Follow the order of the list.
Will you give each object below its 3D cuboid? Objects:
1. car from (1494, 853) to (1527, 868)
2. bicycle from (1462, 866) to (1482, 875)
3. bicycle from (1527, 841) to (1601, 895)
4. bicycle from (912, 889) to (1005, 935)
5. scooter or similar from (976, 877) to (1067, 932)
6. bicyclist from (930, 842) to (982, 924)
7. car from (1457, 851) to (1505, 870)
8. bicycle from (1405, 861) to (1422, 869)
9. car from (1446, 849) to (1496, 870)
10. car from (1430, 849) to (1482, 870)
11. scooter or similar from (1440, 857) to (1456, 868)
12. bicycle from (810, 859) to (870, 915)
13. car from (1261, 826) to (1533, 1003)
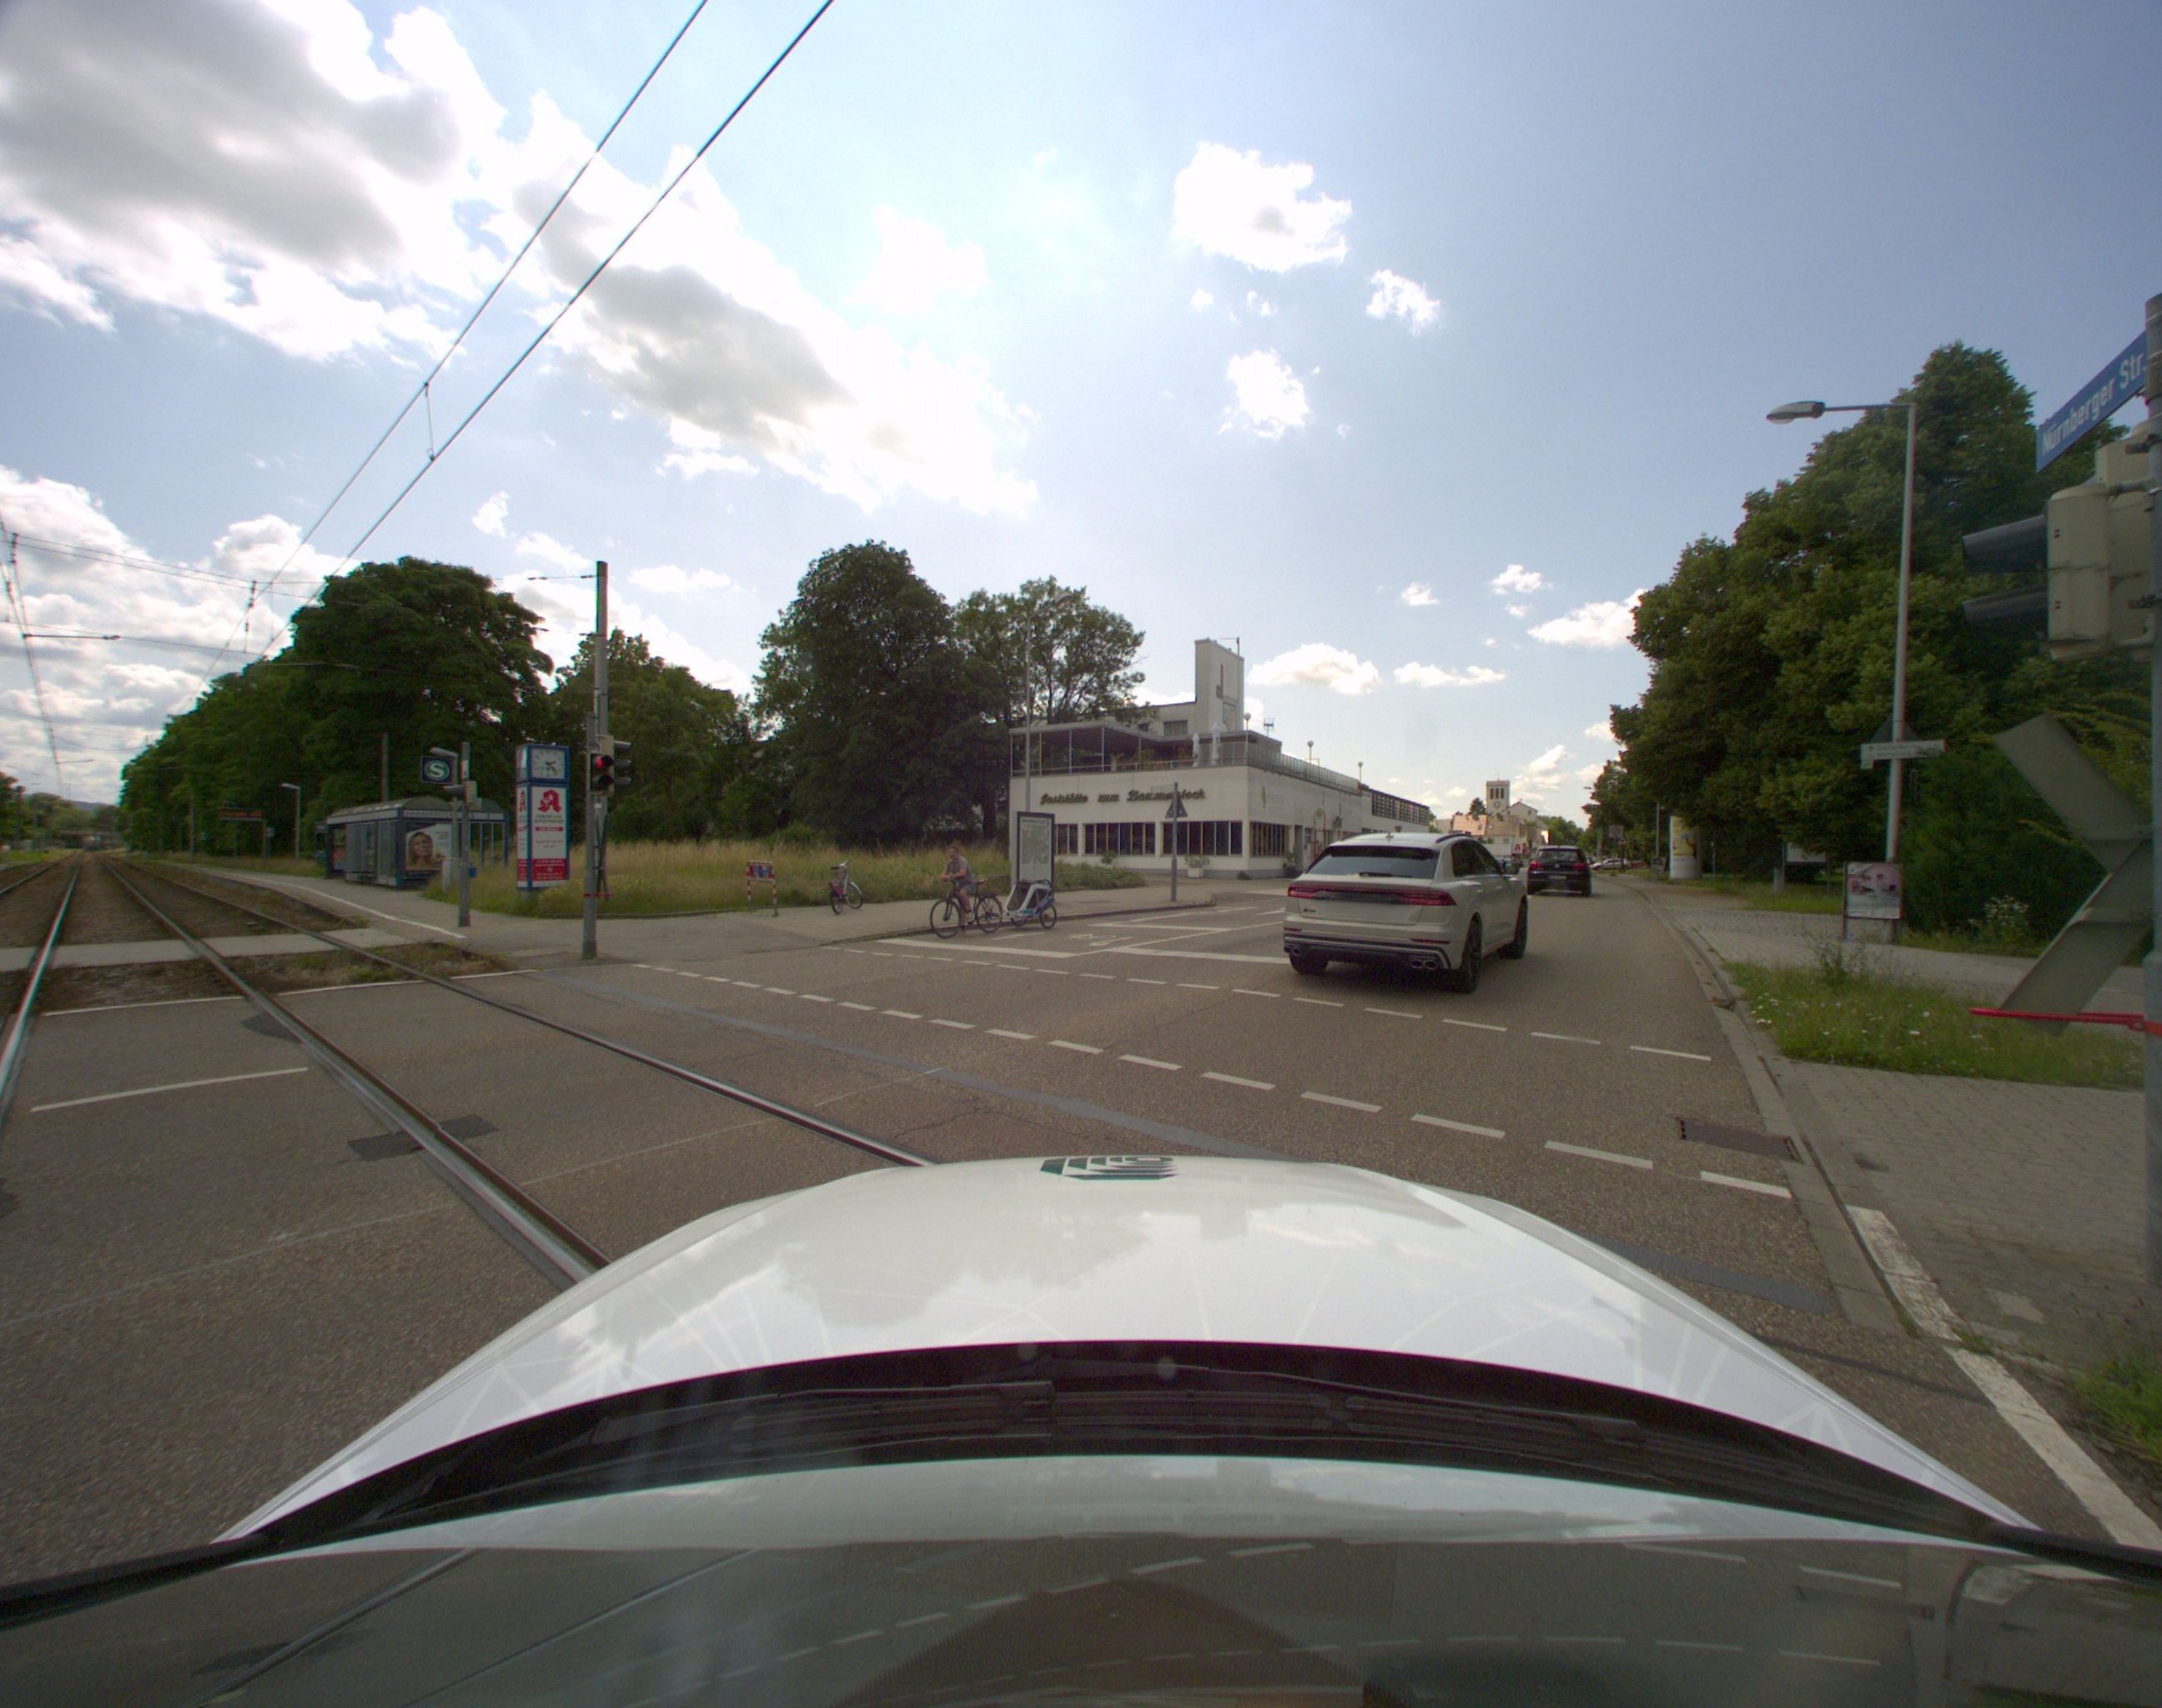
[{"bbox_3d":[59.620,0.931,113.028,3.950,2.014,2.012,0,-1,26],"label":"car"},{"bbox_3d":[36.546,1.531,76.087,1.654,0.757,0.574,2,0,27],"label":"bicycle"},{"bbox_3d":[16.261,0.429,27.578,1.975,1.675,4.234,0,0,28],"label":"bicycle"},{"bbox_3d":[-2.236,1.048,15.071,0.548,0.765,1.738,0,-2,42],"label":"bicycle"},{"bbox_3d":[-1.160,0.968,16.083,0.950,0.979,1.589,0,0,42],"label":"scooter or similar"},{"bbox_3d":[-2.295,0.517,14.977,0.449,1.475,0.847,0,-1,42],"label":"bicyclist"},{"bbox_3d":[43.565,0.716,88.746,4.588,2.014,2.012,0,-2,27],"label":"car"},{"bbox_3d":[36.160,1.174,88.594,1.661,0.757,0.571,2,0,6],"label":"bicycle"},{"bbox_3d":[40.078,0.558,83.683,4.588,2.014,2.012,0,-2,27],"label":"car"},{"bbox_3d":[37.098,0.506,80.542,4.588,2.014,2.012,0,-2,27],"label":"car"},{"bbox_3d":[34.882,0.820,77.439,0.620,0.996,1.996,1,-1,2],"label":"scooter or similar"},{"bbox_3d":[-5.311,0.700,18.077,0.695,1.132,1.663,1,2,6],"label":"bicycle"},{"bbox_3d":[4.168,0.554,10.198,1.962,1.684,4.603,2,1,37],"label":"car"}]
